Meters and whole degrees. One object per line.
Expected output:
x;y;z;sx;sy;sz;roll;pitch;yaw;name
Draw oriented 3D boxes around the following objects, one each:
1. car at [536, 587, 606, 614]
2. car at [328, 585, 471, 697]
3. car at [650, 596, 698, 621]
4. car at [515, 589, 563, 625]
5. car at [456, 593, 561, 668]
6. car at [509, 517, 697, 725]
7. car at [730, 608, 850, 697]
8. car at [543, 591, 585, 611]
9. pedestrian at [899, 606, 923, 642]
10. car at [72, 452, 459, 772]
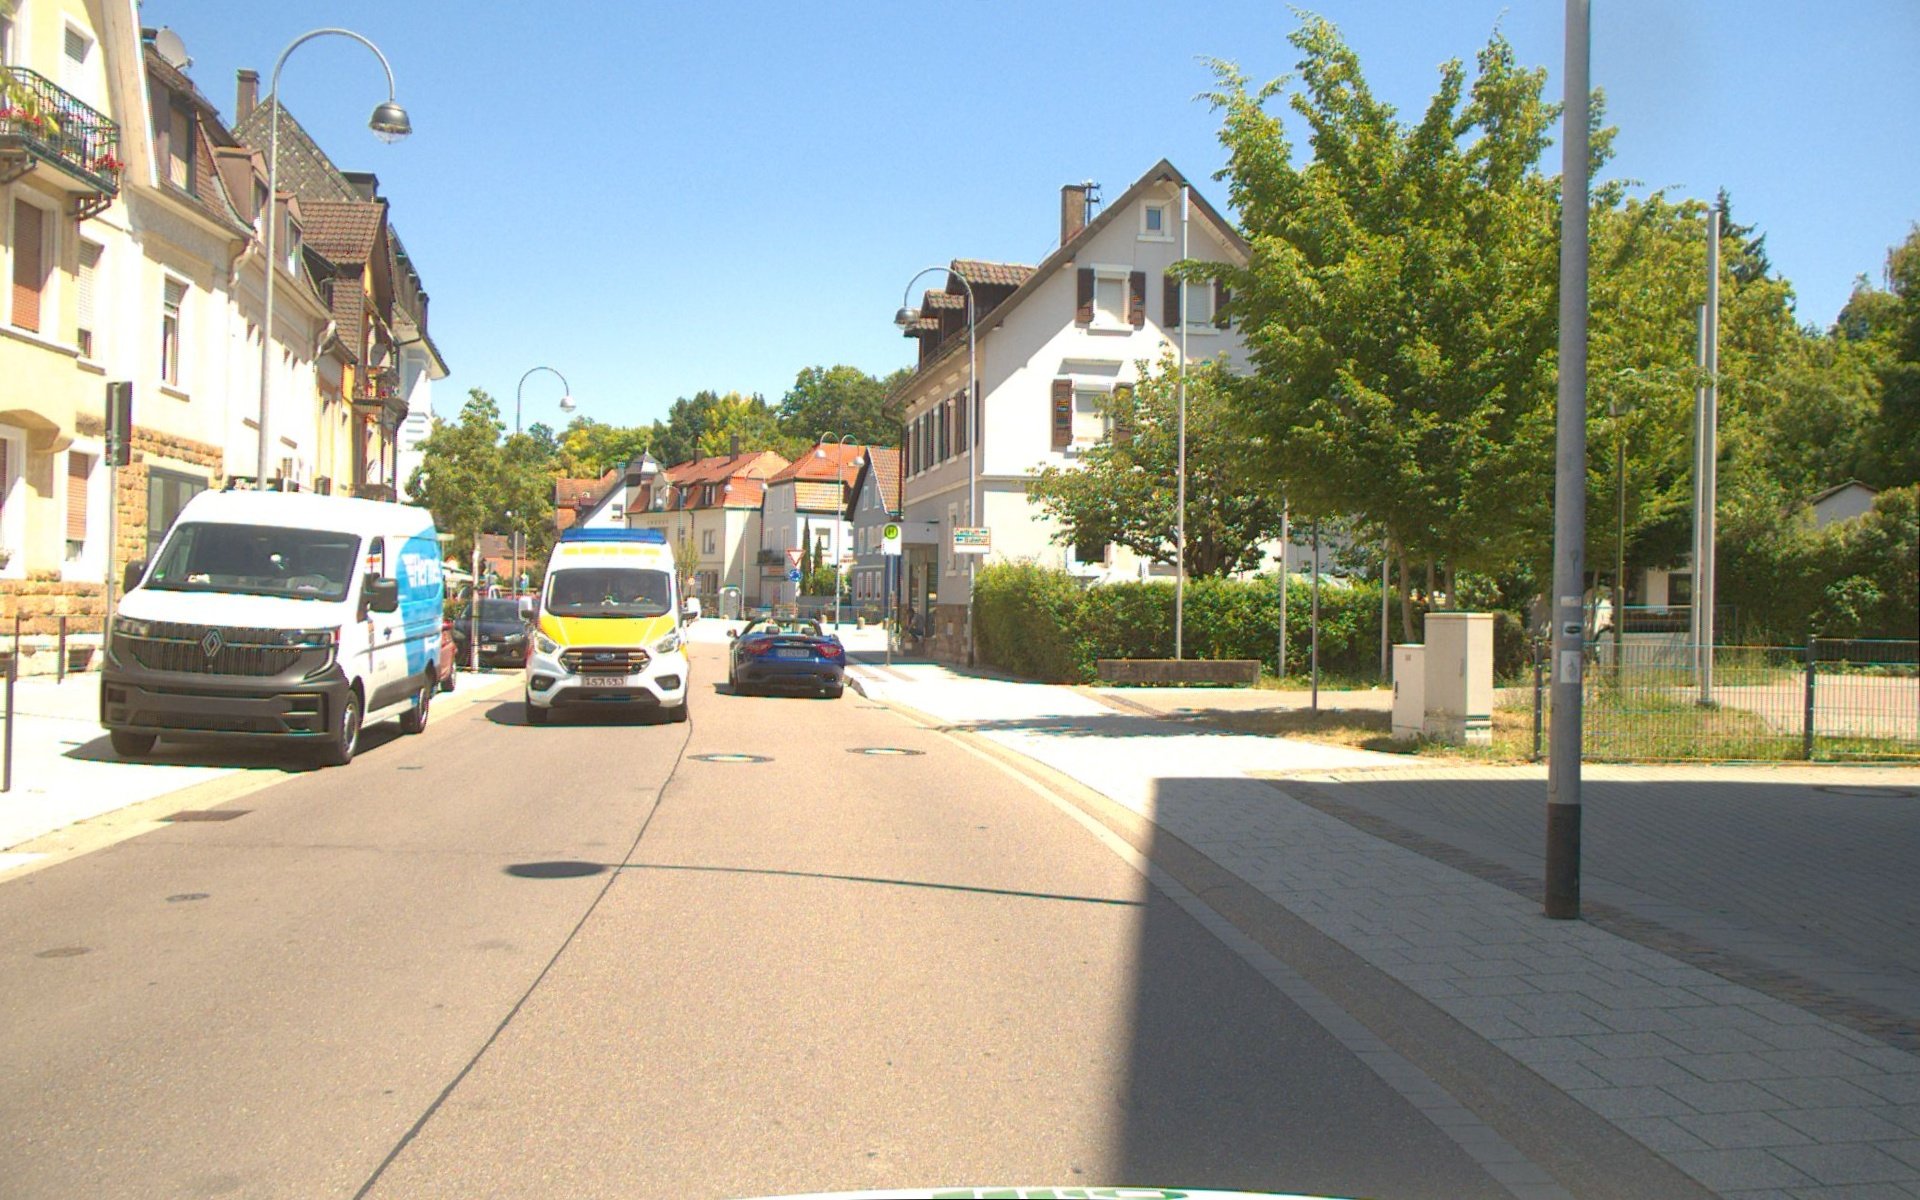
-19.780;0.004;84.069;1.979;1.353;4.145;0;0;-37;car
-8.463;0.611;25.207;1.532;1.547;3.506;2;-1;-11;car
-19.377;0.573;111.994;1.898;1.641;4.106;1;-1;-30;car
-17.480;0.276;68.812;1.882;1.452;3.966;-1;0;-14;car
-10.220;0.653;37.698;1.881;1.507;4.326;4;-1;-11;car
-4.562;0.242;21.882;2.116;2.403;5.237;0;0;-9;car
-3.097;0.876;29.442;1.875;1.384;4.276;2;0;-9;car
-32.823;0.078;137.206;1.839;1.616;3.941;0;0;-40;car
-1.392;0.682;46.867;0.579;1.017;0.722;0;0;-12;pedestrian
-6.551;0.114;16.408;2.053;2.541;5.493;3;-1;-8;car
